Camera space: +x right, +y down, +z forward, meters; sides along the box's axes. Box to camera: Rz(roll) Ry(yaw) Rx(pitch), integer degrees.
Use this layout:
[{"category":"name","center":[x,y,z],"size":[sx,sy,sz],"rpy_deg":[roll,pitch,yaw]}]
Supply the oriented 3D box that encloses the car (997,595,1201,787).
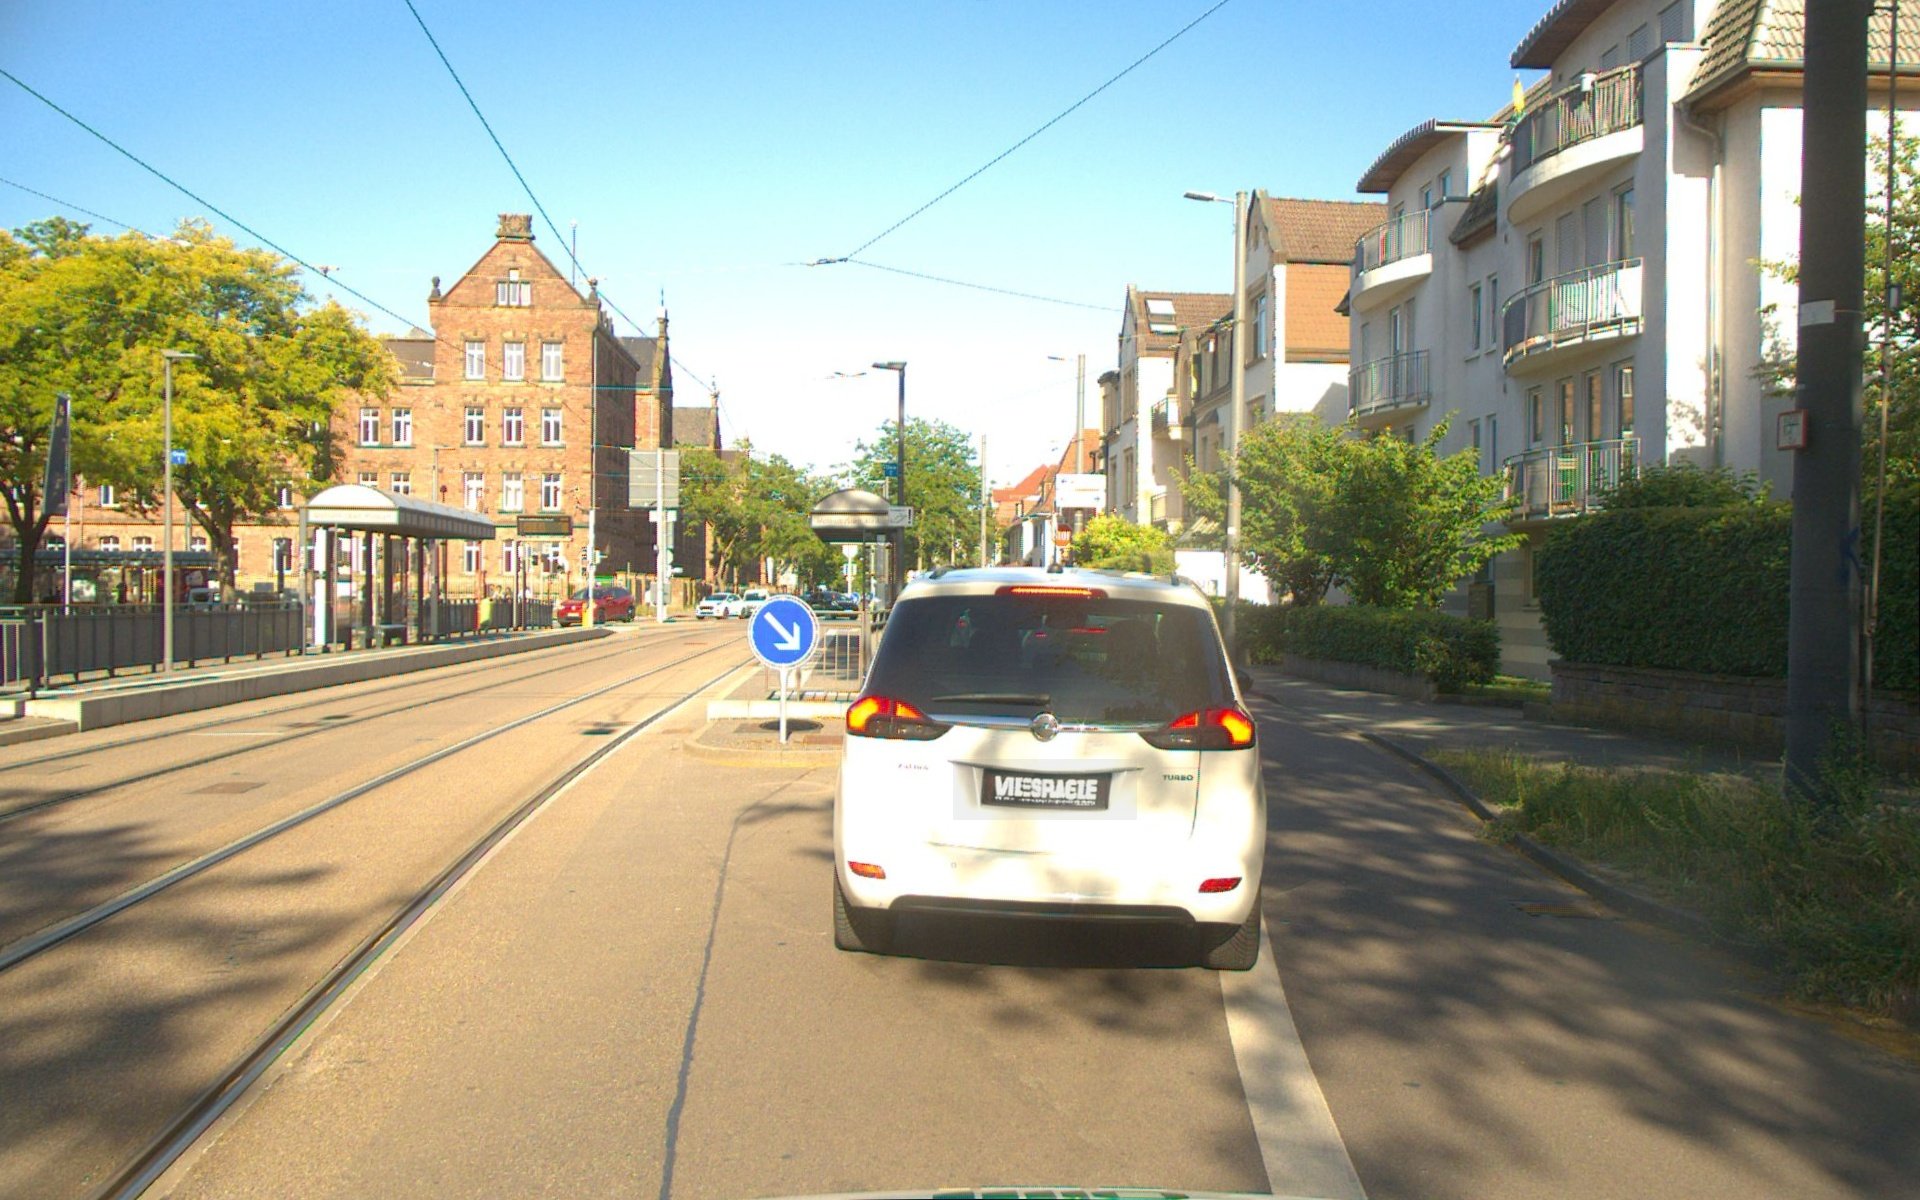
[{"category":"car","center":[1.236,0.699,14.787],"size":[1.536,1.426,3.786],"rpy_deg":[2,0,5]}]

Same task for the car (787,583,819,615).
[{"category":"car","center":[-10.230,-0.065,107.520],"size":[1.955,2.049,3.994],"rpy_deg":[0,0,-7]}]

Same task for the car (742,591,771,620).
[{"category":"car","center":[-13.075,0.330,106.079],"size":[1.792,1.819,4.248],"rpy_deg":[0,0,-7]}]

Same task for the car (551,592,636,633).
[{"category":"car","center":[-15.425,0.501,69.808],"size":[1.779,1.635,4.363],"rpy_deg":[0,0,13]}]

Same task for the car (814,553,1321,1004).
[{"category":"car","center":[0.550,0.639,8.086],"size":[1.838,1.613,4.002],"rpy_deg":[1,0,5]}]

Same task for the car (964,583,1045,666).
[{"category":"car","center":[0.944,0.497,36.764],"size":[1.563,1.663,3.901],"rpy_deg":[2,1,-1]}]

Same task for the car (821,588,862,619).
[{"category":"car","center":[-6.549,0.182,91.460],"size":[1.953,1.624,4.000],"rpy_deg":[0,0,0]}]

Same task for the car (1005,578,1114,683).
[{"category":"car","center":[1.692,0.489,29.182],"size":[1.563,1.663,3.900],"rpy_deg":[2,0,-1]}]

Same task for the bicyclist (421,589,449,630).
[{"category":"bicyclist","center":[-19.242,0.338,60.631],"size":[0.639,1.485,1.152],"rpy_deg":[0,0,3]}]

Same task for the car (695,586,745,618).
[{"category":"car","center":[-14.073,0.108,97.254],"size":[1.662,1.841,4.003],"rpy_deg":[0,0,11]}]

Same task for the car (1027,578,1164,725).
[{"category":"car","center":[1.722,0.588,21.046],"size":[1.536,1.643,3.786],"rpy_deg":[2,0,5]}]

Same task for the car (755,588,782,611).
[{"category":"car","center":[-14.285,-0.027,123.474],"size":[1.791,1.645,4.323],"rpy_deg":[1,-1,-4]}]

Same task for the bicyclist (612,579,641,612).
[{"category":"bicyclist","center":[-16.140,-0.198,80.041],"size":[0.744,1.563,1.348],"rpy_deg":[1,0,19]}]

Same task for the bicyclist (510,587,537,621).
[{"category":"bicyclist","center":[-19.121,0.166,72.476],"size":[0.740,1.496,1.191],"rpy_deg":[0,0,7]}]
